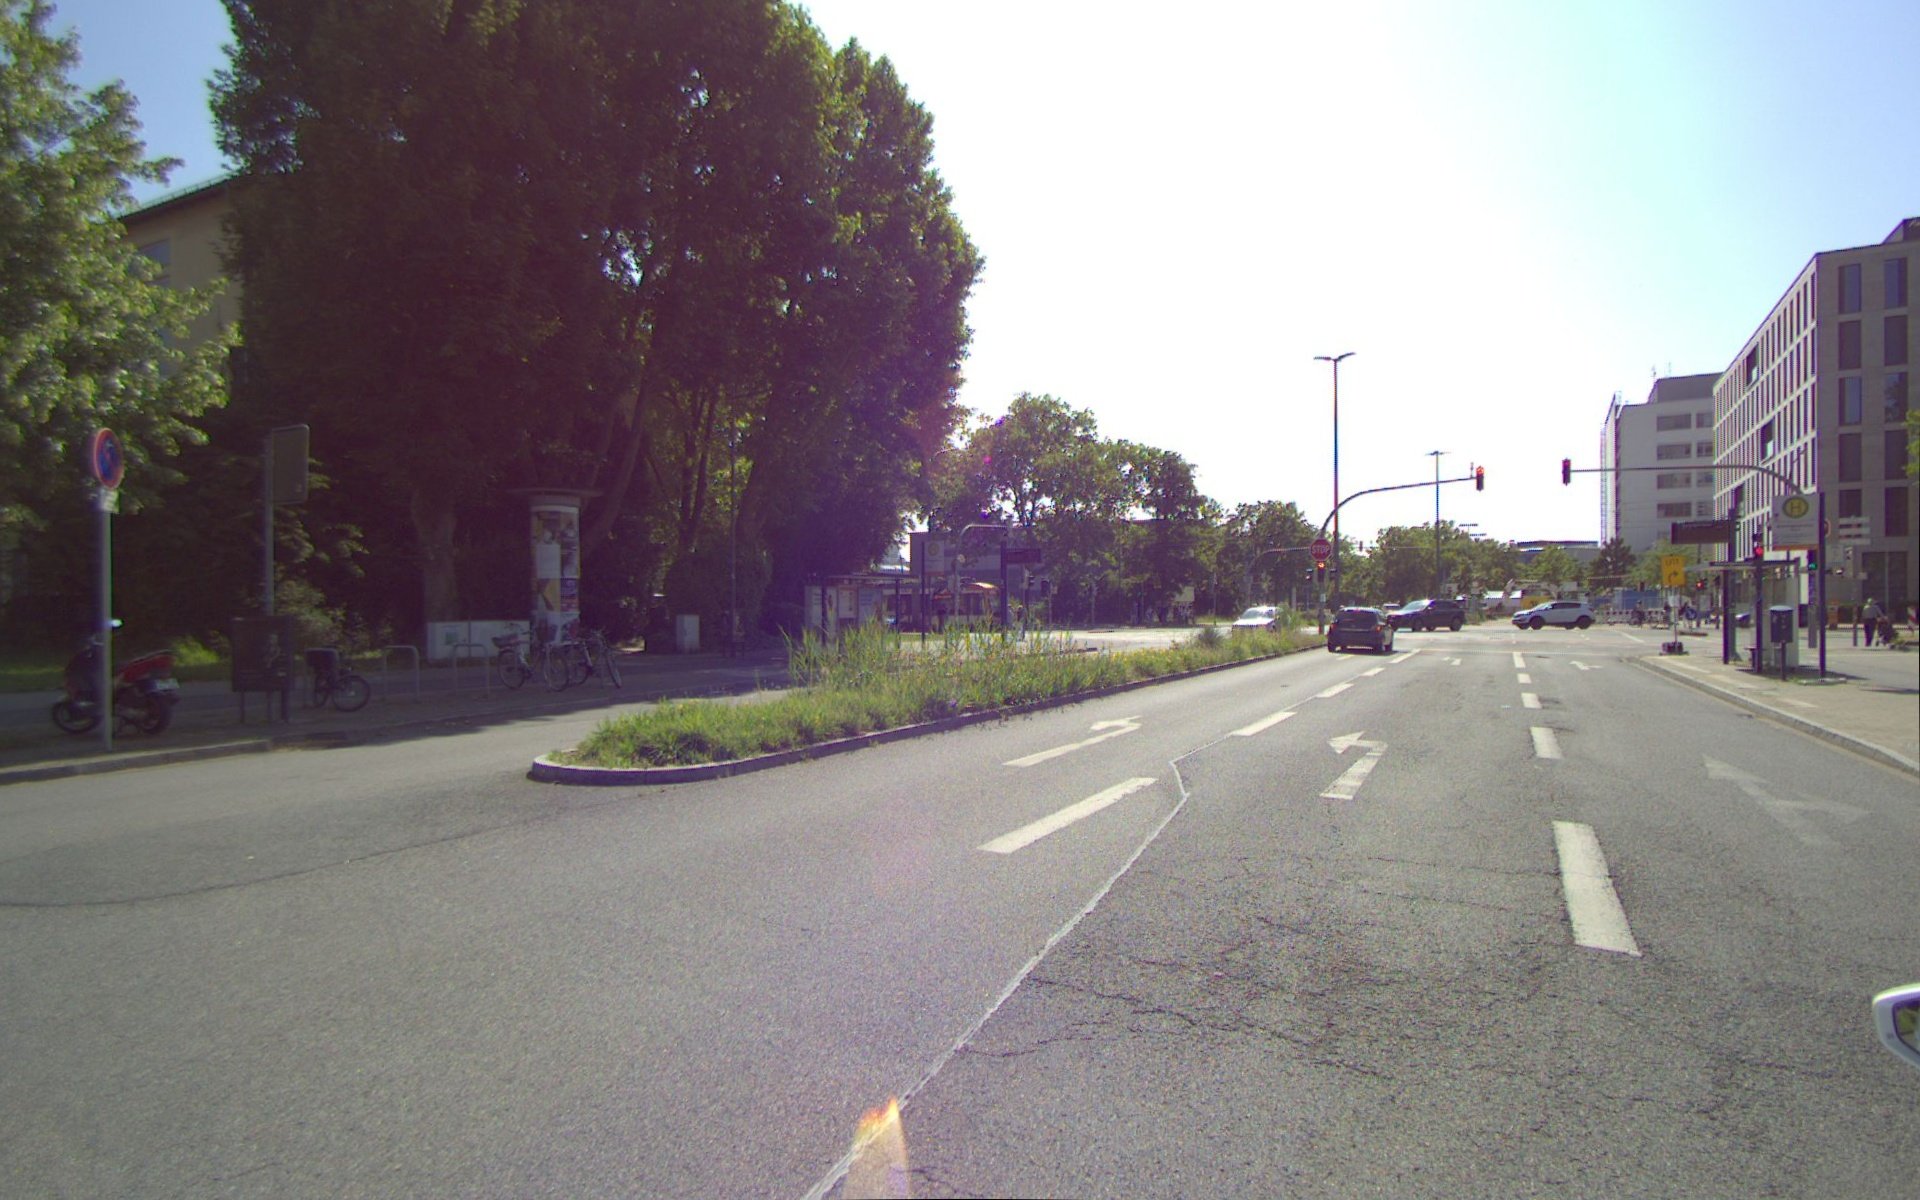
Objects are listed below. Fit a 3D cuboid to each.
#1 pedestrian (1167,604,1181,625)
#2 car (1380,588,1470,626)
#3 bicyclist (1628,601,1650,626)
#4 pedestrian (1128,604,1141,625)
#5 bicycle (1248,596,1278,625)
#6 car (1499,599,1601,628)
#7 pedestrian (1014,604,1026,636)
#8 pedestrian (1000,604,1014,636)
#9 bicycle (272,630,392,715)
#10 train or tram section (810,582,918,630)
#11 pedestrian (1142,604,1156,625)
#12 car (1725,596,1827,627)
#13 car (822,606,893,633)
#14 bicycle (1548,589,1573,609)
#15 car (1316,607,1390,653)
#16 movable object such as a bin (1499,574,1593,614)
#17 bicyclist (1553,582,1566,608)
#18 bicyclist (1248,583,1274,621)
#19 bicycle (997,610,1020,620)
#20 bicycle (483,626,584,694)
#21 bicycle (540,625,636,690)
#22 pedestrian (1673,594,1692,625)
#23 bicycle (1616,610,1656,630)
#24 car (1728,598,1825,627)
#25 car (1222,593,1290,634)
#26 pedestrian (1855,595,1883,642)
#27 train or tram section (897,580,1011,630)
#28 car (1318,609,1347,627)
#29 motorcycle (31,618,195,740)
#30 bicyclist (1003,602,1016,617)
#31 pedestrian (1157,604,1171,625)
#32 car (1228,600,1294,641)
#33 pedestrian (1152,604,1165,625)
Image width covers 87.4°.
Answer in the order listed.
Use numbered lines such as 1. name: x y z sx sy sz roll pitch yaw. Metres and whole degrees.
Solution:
1. pedestrian: 17.237 1.163 80.889 0.933 1.633 0.661 0 0 -38
2. car: 26.120 0.369 56.378 4.804 2.040 1.988 0 0 -25
3. bicyclist: 46.399 0.935 68.672 1.224 1.696 0.523 0 0 38
4. pedestrian: 14.102 1.178 81.217 0.933 1.633 0.649 0 0 -38
5. bicycle: 24.423 0.835 80.870 1.576 2.299 3.993 0 -1 29
6. car: 34.640 0.797 59.088 4.771 1.658 2.001 0 0 10
7. pedestrian: 3.299 1.108 55.490 0.557 1.749 0.734 -1 0 11
8. pedestrian: 2.582 1.128 55.609 0.647 1.749 0.753 -1 0 11
9. bicycle: -8.924 0.993 14.266 1.818 1.106 0.691 0 0 31
10. train or tram section: -7.034 0.434 73.576 7.441 3.376 3.115 -1 0 28
11. pedestrian: 15.313 1.172 81.300 0.933 1.633 0.649 0 0 -38
12. car: 45.177 0.642 55.741 4.049 1.660 1.997 -1 -1 28
13. car: -5.445 1.017 53.488 3.445 1.395 1.636 -1 0 27
14. bicycle: 59.969 -0.081 100.359 2.060 1.988 0.825 0 0 36
15. car: 13.172 0.956 33.546 1.963 1.417 3.995 0 0 27
16. movable object such as a bin: 69.454 -0.669 119.323 9.537 4.611 3.157 0 0 31
17. bicyclist: 59.929 -0.472 100.396 1.055 2.608 0.825 0 0 35
18. bicyclist: 24.037 0.167 80.149 1.576 2.970 2.349 0 0 29
19. bicycle: 4.114 1.275 85.265 1.975 0.895 0.525 0 0 38
20. bicycle: -7.507 1.025 17.643 1.818 1.121 0.691 0 0 31
21. bicycle: -6.928 1.039 18.685 1.818 1.137 0.691 0 0 31
22. pedestrian: 47.852 0.600 66.503 0.768 2.040 0.773 0 0 -32
23. bicycle: 46.273 1.354 68.769 2.201 1.302 0.523 0 0 38
24. car: 45.959 0.707 56.641 3.927 1.603 1.841 -1 -1 28
25. car: 12.649 0.579 42.773 1.963 1.660 4.389 -1 -1 27
26. pedestrian: 30.987 0.623 34.245 0.609 1.564 0.461 0 0 28
27. train or tram section: -0.444 0.368 70.070 7.441 3.376 3.115 -1 0 28
28. car: 32.488 1.529 87.664 1.714 1.529 3.967 0 0 11
29. motorcycle: -9.706 0.869 11.508 1.816 1.301 0.692 0 0 23
30. bicyclist: 4.219 0.795 85.184 1.039 1.292 0.490 0 0 38
31. pedestrian: 16.208 1.153 79.917 0.933 1.633 0.649 0 0 -38
32. car: 12.851 0.839 42.753 1.862 1.631 4.512 -1 -1 28
33. pedestrian: 15.984 1.166 80.873 0.933 1.633 0.649 0 0 -38
